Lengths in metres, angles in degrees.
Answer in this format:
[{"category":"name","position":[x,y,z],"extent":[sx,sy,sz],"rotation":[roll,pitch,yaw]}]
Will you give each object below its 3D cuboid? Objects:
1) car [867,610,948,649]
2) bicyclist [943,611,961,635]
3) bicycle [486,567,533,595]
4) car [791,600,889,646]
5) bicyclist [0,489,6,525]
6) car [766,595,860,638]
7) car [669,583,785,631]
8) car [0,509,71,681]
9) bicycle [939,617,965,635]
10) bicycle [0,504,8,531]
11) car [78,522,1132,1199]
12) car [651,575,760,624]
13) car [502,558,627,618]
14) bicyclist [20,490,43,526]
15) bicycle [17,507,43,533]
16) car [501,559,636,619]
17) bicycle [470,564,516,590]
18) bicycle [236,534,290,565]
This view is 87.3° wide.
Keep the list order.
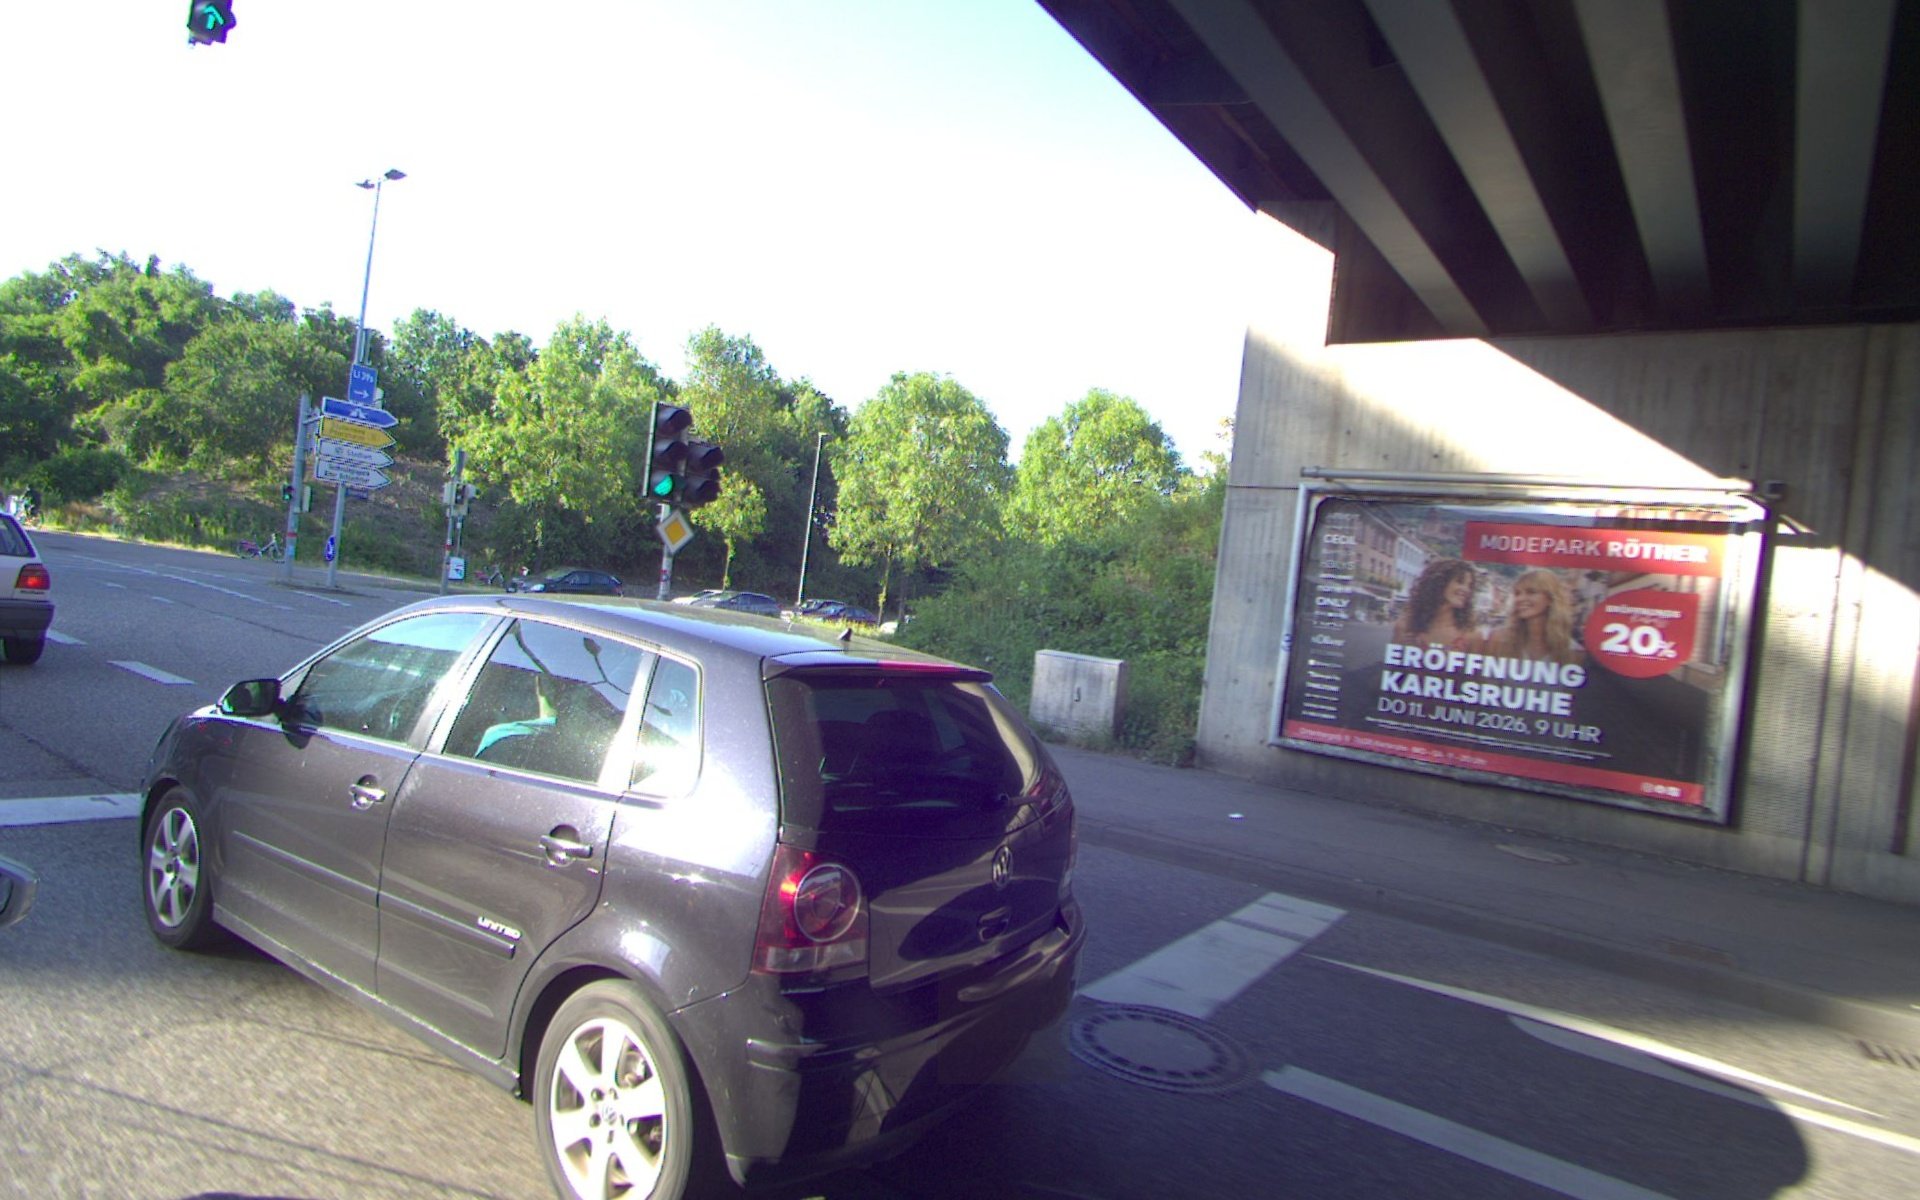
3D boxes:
[{"category":"car","position":[-2.902,1.667,56.271],"extent":[2.011,1.585,4.328],"rotation":[5,-3,39]},{"category":"bicyclist","position":[-0.588,1.665,73.348],"extent":[0.780,1.613,0.858],"rotation":[6,-2,33]},{"category":"bicycle","position":[-20.925,-0.875,46.736],"extent":[1.787,0.992,0.631],"rotation":[9,-1,-43]},{"category":"car","position":[-5.628,1.110,47.683],"extent":[2.011,1.585,4.328],"rotation":[5,-3,39]},{"category":"bicyclist","position":[-34.289,-3.327,35.738],"extent":[0.452,1.248,0.428],"rotation":[6,0,34]},{"category":"car","position":[-7.328,0.856,50.544],"extent":[2.011,1.585,4.328],"rotation":[5,-3,39]},{"category":"car","position":[-9.760,0.318,42.368],"extent":[2.011,1.423,4.328],"rotation":[5,-3,39]},{"category":"car","position":[-9.964,-0.248,9.228],"extent":[3.996,1.429,1.581],"rotation":[6,-3,33]},{"category":"bicycle","position":[-0.592,1.909,73.403],"extent":[0.808,1.125,2.016],"rotation":[6,-3,33]},{"category":"bicycle","position":[-34.266,-2.964,35.696],"extent":[1.010,0.926,0.437],"rotation":[6,1,34]},{"category":"car","position":[-1.453,0.632,3.615],"extent":[3.625,1.425,1.619],"rotation":[6,-3,34]},{"category":"car","position":[-11.493,-0.003,45.662],"extent":[2.011,1.585,4.328],"rotation":[5,-3,39]},{"category":"car","position":[-15.194,-0.442,38.811],"extent":[1.836,1.712,3.987],"rotation":[5,-3,39]},{"category":"bicyclist","position":[-35.734,-3.550,38.726],"extent":[0.452,1.324,0.428],"rotation":[6,-2,34]},{"category":"bicycle","position":[-35.766,-3.079,38.696],"extent":[1.010,0.925,0.438],"rotation":[6,-2,34]},{"category":"car","position":[-14.137,-0.367,36.509],"extent":[1.971,1.547,3.987],"rotation":[5,-3,39]},{"category":"bicycle","position":[-22.072,-1.087,47.583],"extent":[1.787,0.991,0.631],"rotation":[9,-3,-43]},{"category":"bicycle","position":[-27.504,-1.991,39.700],"extent":[1.655,1.004,0.571],"rotation":[7,3,-40]}]
